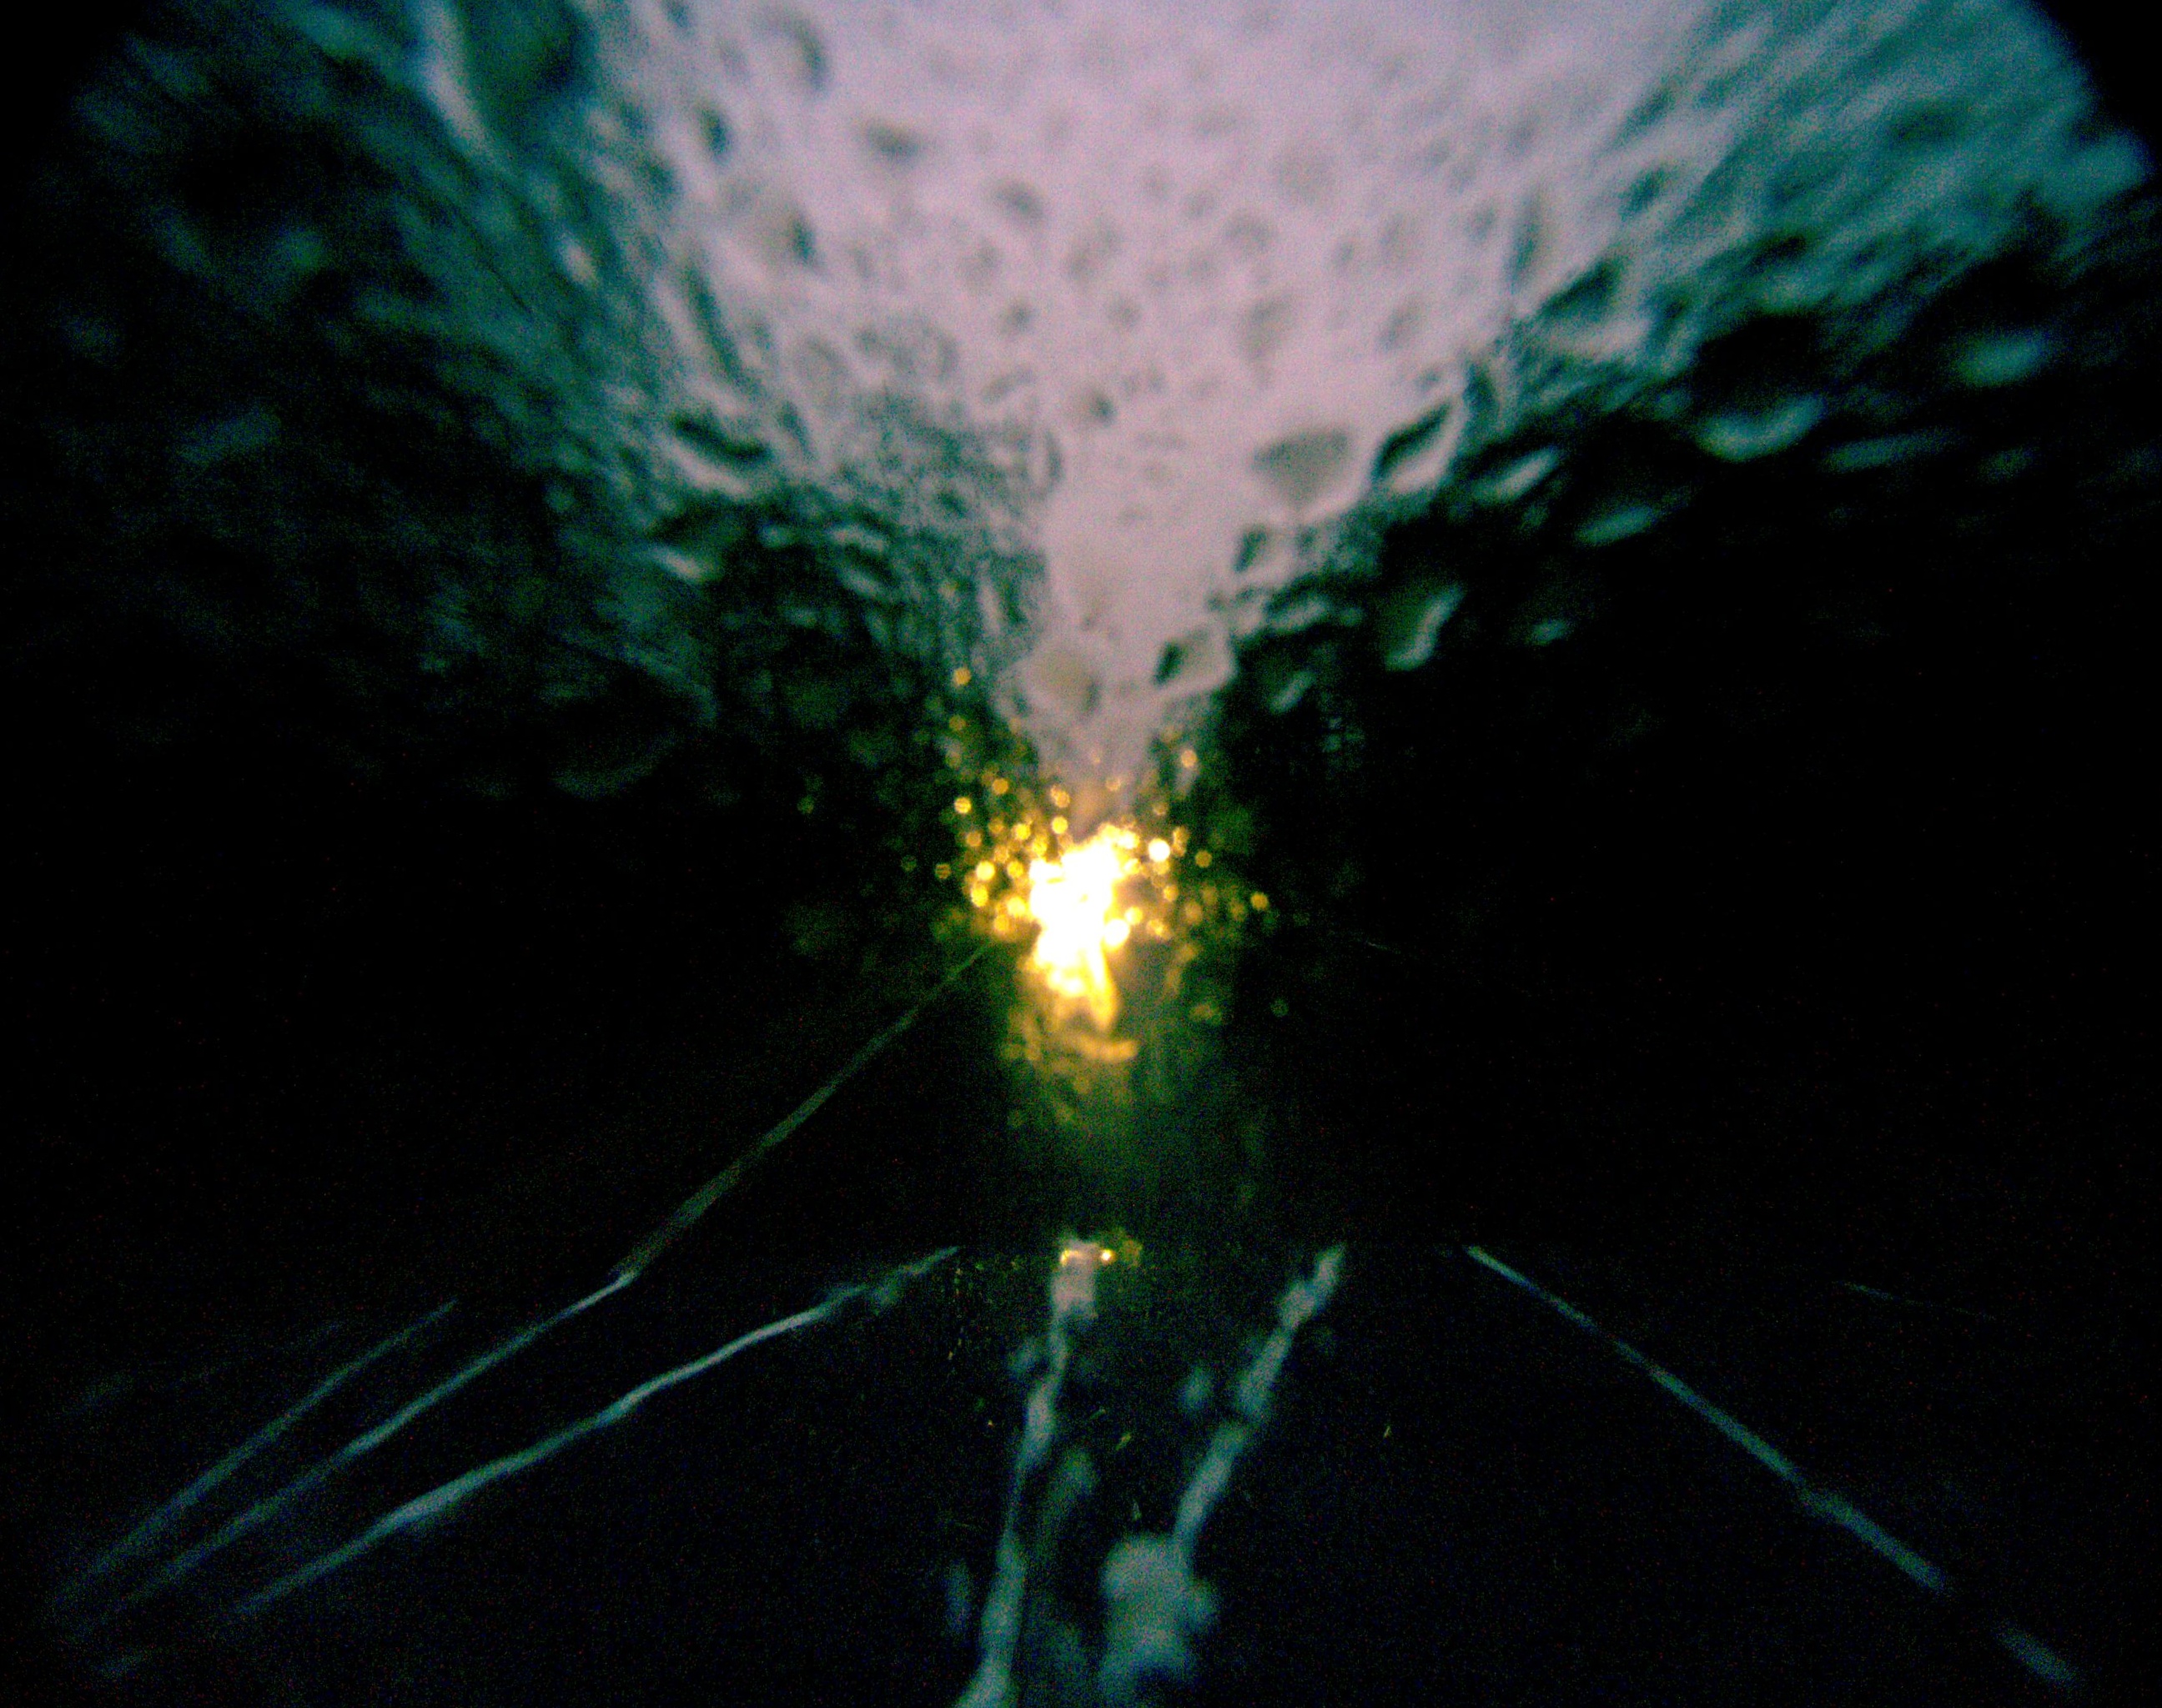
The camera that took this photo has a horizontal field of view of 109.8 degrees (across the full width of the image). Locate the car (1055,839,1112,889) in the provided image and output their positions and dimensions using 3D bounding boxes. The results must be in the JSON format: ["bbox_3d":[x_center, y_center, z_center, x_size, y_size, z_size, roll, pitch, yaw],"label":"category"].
[{"bbox_3d":[0.208,0.447,38.125,2.542,2.213,6.169,-2,0,1],"label":"car"}]
